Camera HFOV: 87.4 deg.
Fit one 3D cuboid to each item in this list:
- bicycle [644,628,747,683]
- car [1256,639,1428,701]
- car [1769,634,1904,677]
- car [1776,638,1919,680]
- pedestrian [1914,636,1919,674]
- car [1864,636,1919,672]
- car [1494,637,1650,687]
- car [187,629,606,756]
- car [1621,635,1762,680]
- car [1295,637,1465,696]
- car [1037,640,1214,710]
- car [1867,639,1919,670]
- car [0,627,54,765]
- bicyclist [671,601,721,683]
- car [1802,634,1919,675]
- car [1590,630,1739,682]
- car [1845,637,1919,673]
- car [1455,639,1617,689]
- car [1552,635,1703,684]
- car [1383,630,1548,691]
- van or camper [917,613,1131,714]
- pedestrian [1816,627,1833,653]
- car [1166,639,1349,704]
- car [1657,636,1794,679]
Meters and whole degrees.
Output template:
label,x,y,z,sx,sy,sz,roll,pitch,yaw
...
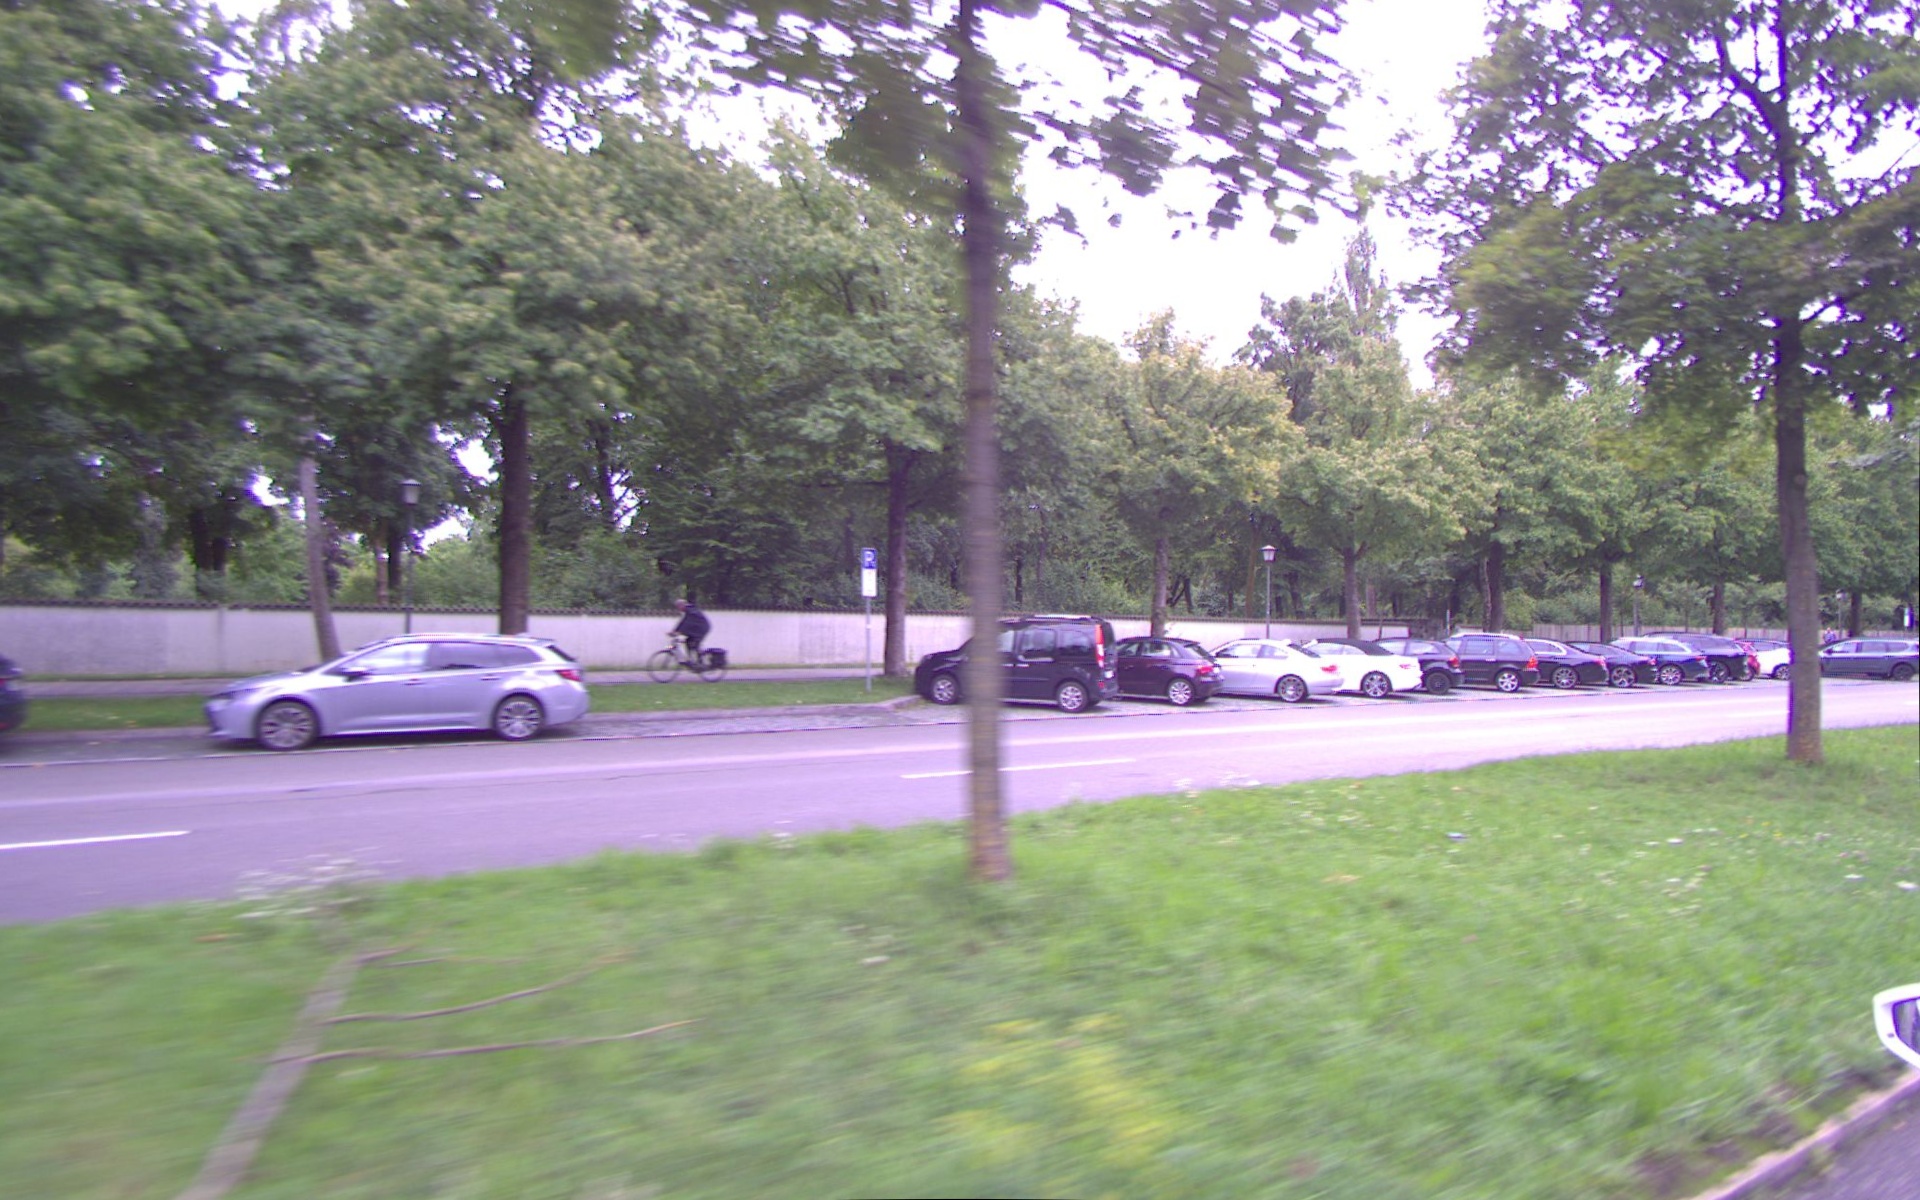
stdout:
label,x,y,z,sx,sy,sz,roll,pitch,yaw
bicycle,-5.857,1.224,22.321,2.091,1.177,0.710,2,-1,-30
car,9.720,1.737,25.600,3.967,1.400,1.674,0,-1,25
car,37.720,2.347,43.373,4.032,1.717,1.917,0,-1,27
car,36.298,2.396,41.201,4.113,1.563,1.916,0,-2,30
pedestrian,41.142,2.348,42.710,0.674,1.633,0.719,2,-1,-38
car,46.363,2.590,48.191,4.032,1.674,1.917,0,-1,27
car,19.443,1.938,32.156,4.121,1.428,1.917,0,-2,27
car,-7.507,1.177,13.850,4.750,1.458,1.629,1,0,-29
car,27.166,2.102,37.473,4.035,1.521,1.916,0,-2,30
car,11.361,1.765,27.453,4.157,1.441,1.920,0,-1,19
car,3.696,1.612,22.451,3.517,1.372,1.750,0,-1,30
car,48.214,2.739,50.078,4.032,1.493,1.917,0,-2,27
car,-12.992,1.041,10.664,4.745,1.478,1.578,1,0,-32
bicyclist,-5.868,0.922,22.316,0.912,1.770,0.702,1,-1,-30
car,40.598,2.414,45.024,4.032,1.717,1.917,0,-1,27
car,24.596,1.929,35.267,4.032,1.702,1.917,0,-1,27
car,43.897,2.549,46.478,4.032,1.606,1.917,0,-1,27
car,17.251,1.899,30.333,4.125,1.340,1.917,0,-2,27
car,22.300,1.959,33.774,4.032,1.489,1.917,0,-2,27
car,14.319,1.678,28.712,4.028,1.618,1.919,0,-1,21
van or camper,1.340,1.237,20.690,4.044,1.879,1.850,0,-1,20
pedestrian,54.846,2.549,63.737,0.668,1.633,0.691,0,-1,29
car,7.078,1.643,23.902,3.925,1.372,1.849,0,-1,26
car,29.761,2.211,39.206,4.035,1.521,1.916,0,-2,30
